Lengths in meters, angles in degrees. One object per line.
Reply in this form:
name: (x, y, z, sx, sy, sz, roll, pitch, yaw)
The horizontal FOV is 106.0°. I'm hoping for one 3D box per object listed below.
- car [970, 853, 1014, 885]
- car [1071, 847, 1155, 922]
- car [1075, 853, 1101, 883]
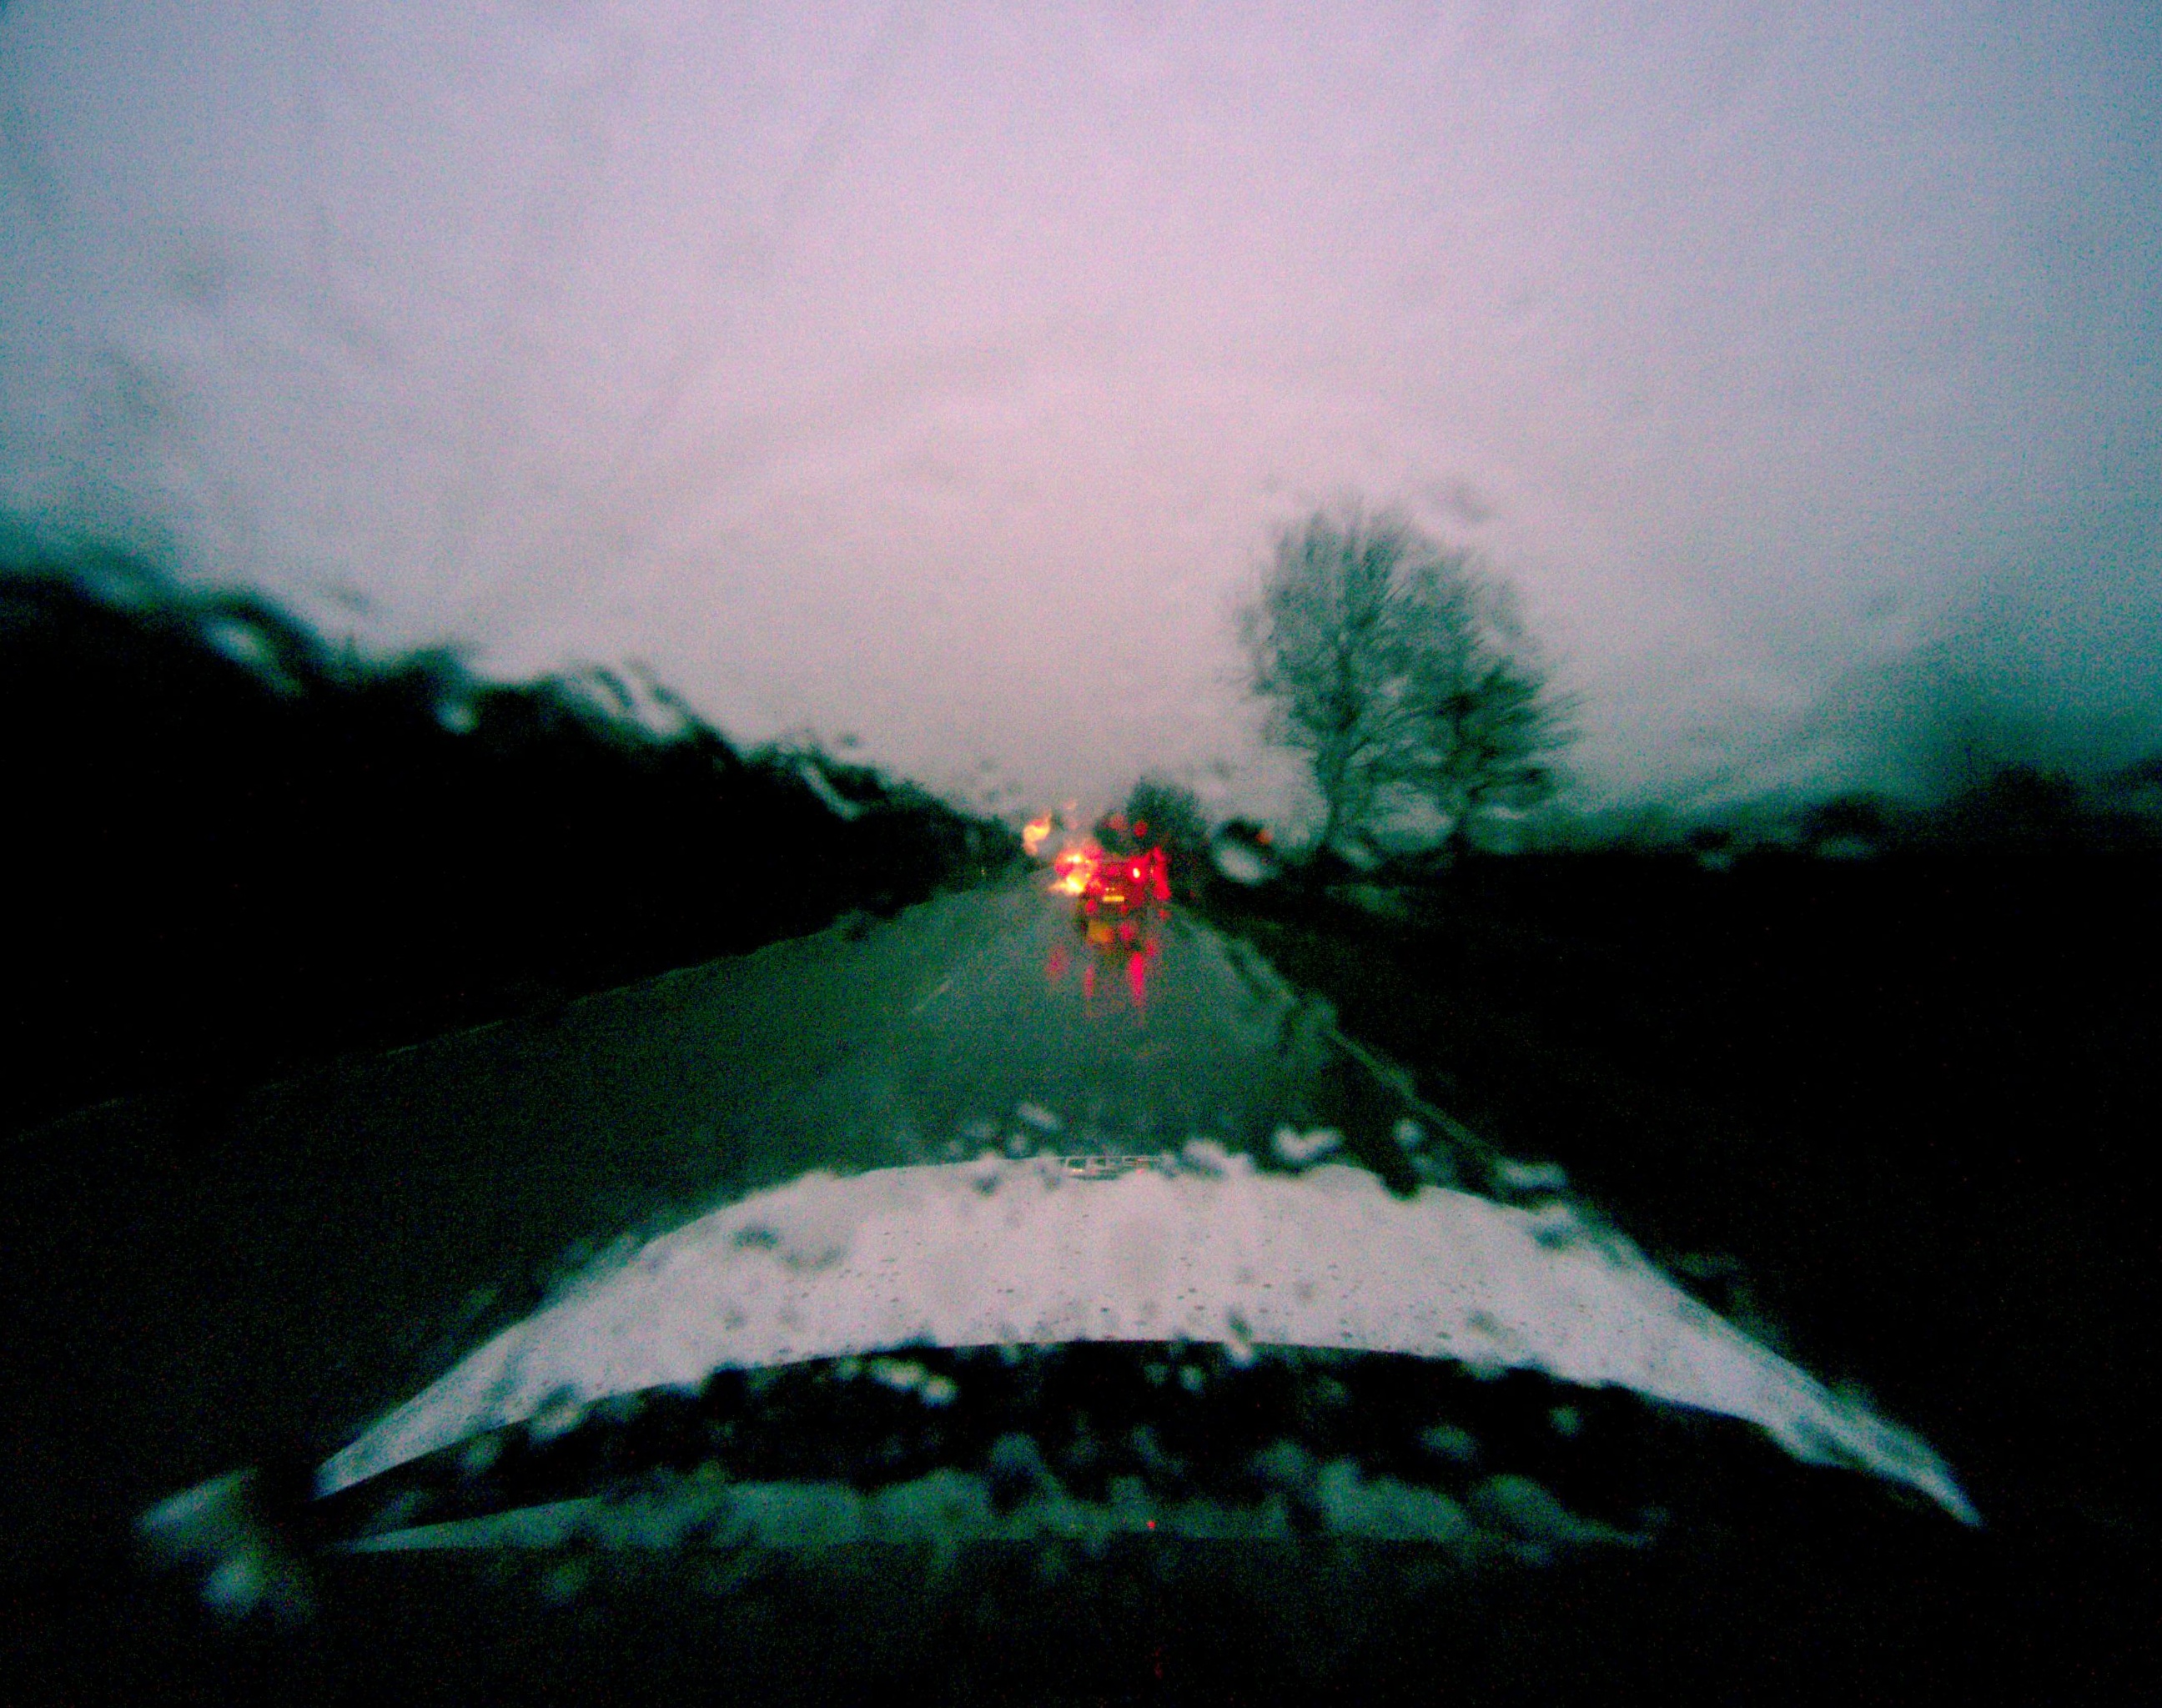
car: (-5.111, 0.838, 47.087, 1.986, 1.785, 4.001, 0, 0, 1)
car: (0.816, 0.738, 21.274, 1.986, 1.785, 4.001, 0, 0, 1)
car: (0.459, 0.872, 51.745, 1.569, 1.875, 3.710, 0, 0, 1)
